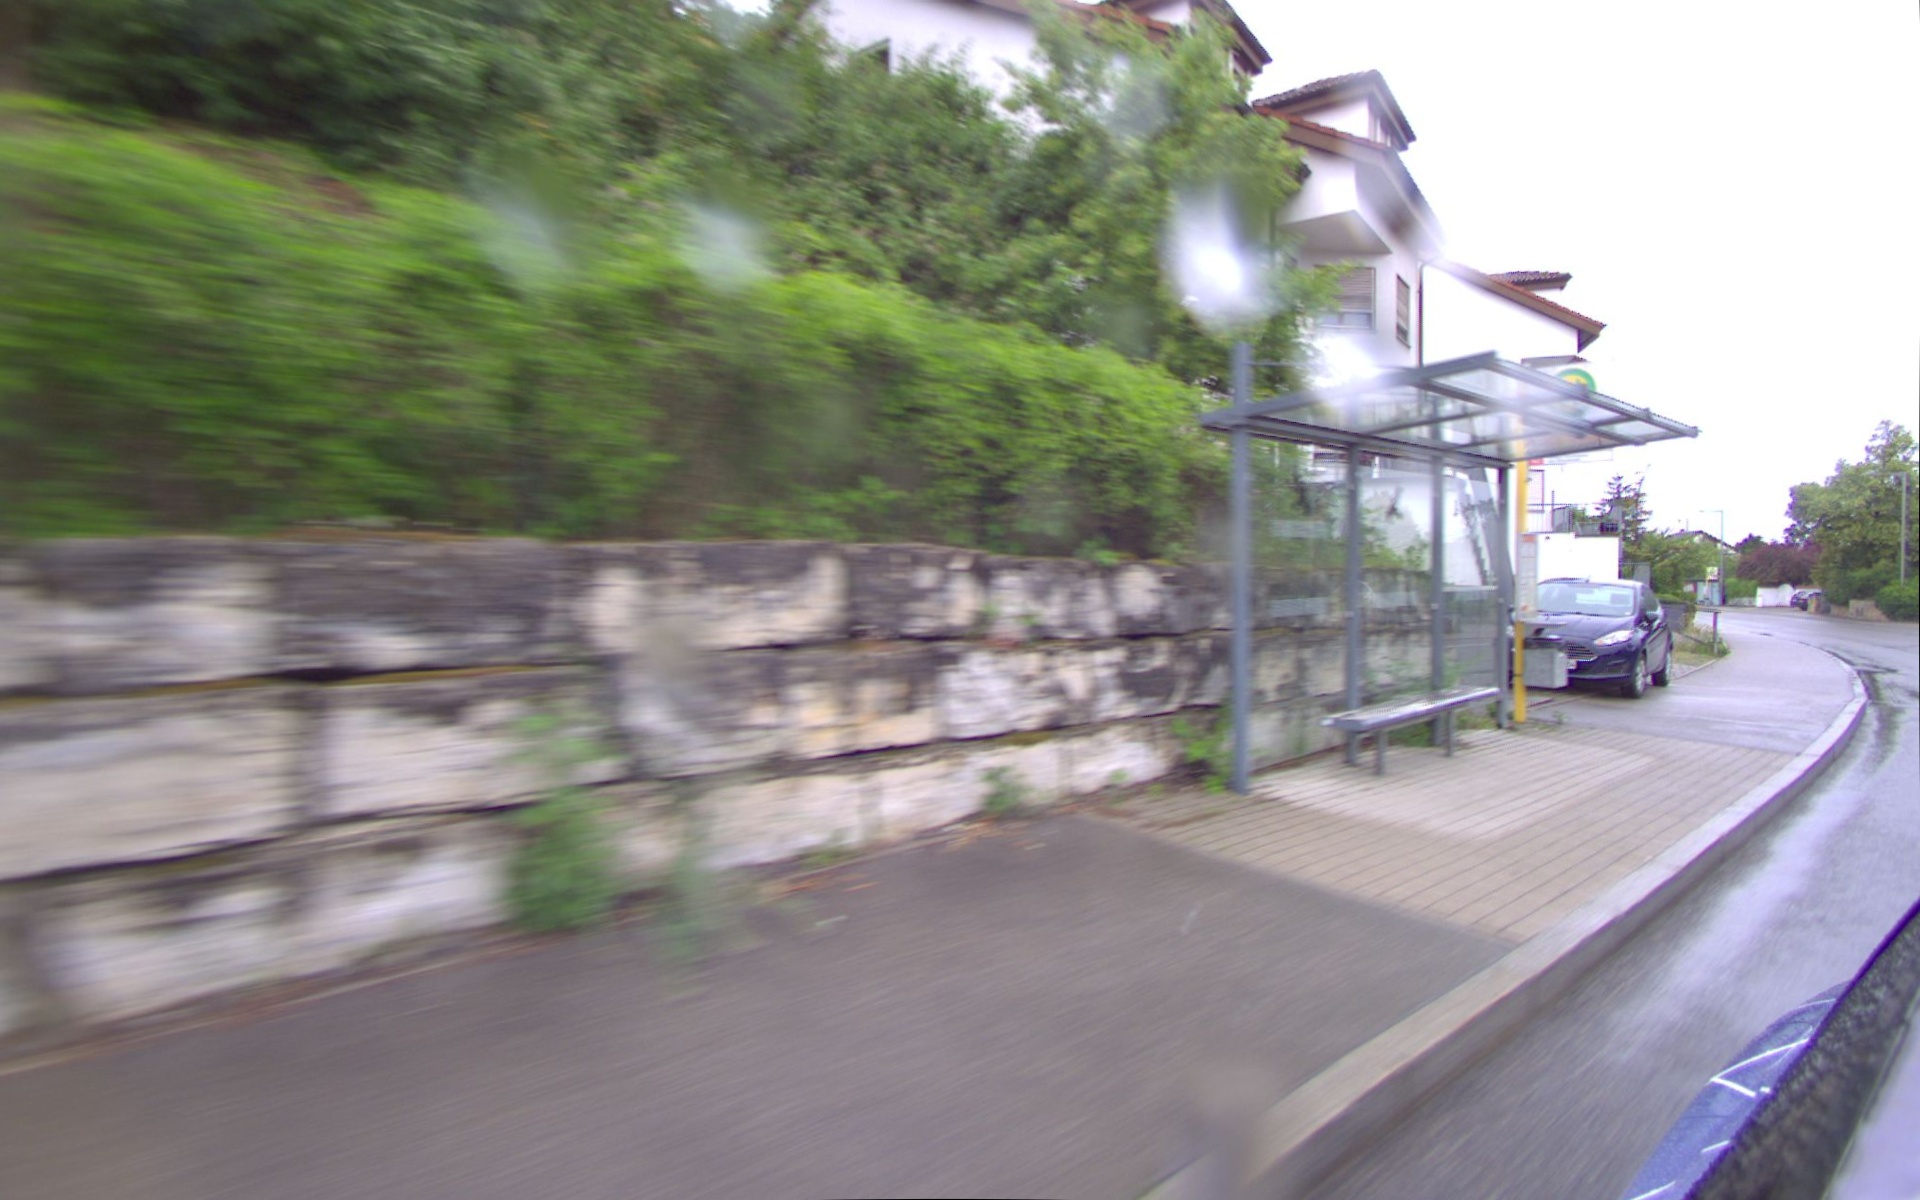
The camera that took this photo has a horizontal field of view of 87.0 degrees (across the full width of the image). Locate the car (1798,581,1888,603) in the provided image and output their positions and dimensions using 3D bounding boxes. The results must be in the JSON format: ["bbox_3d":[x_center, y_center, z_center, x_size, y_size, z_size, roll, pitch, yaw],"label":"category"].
[{"bbox_3d":[63.454,-0.598,72.818,4.495,1.494,1.828,-1,0,19],"label":"car"}]

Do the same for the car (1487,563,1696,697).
[{"bbox_3d":[8.625,0.310,13.675,1.704,1.471,3.960,5,3,41],"label":"car"}]
